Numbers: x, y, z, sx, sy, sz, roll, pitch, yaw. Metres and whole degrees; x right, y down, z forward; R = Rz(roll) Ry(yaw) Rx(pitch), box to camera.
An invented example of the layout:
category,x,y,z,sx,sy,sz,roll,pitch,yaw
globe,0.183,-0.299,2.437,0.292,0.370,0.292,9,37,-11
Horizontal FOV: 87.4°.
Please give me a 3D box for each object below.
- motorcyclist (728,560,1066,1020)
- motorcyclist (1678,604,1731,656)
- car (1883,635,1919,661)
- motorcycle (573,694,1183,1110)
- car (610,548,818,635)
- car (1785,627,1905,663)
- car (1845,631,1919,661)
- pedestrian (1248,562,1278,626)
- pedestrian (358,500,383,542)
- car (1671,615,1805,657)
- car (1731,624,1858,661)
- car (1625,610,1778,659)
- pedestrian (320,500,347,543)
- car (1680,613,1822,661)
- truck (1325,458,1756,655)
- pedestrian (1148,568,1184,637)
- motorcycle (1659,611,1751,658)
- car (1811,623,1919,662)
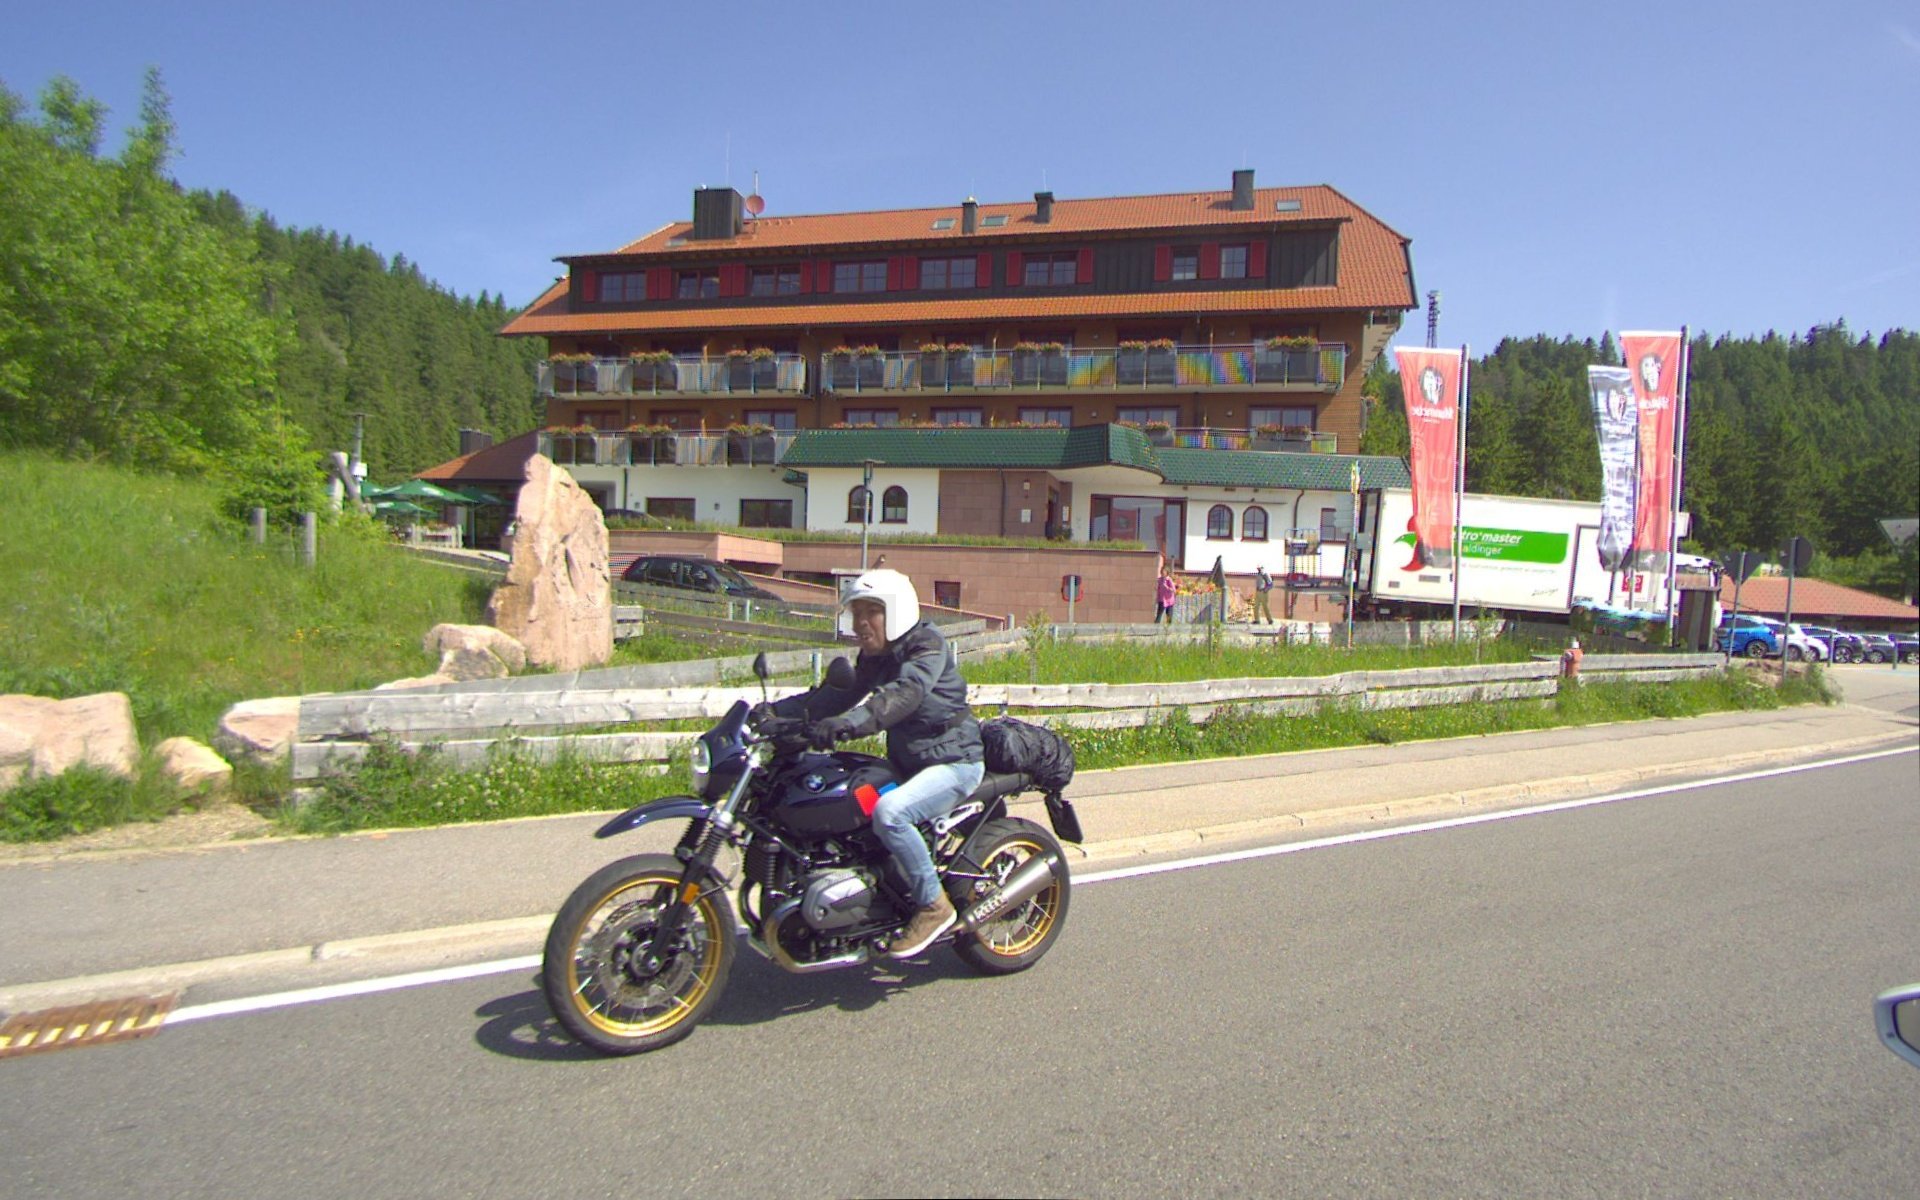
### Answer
category,x,y,z,sx,sy,sz,roll,pitch,yaw
motorcyclist,-0.255,0.623,3.813,0.993,1.460,0.835,2,-2,-30
motorcyclist,26.706,1.046,36.068,1.225,1.743,1.063,5,2,26
car,55.464,2.779,57.117,3.919,1.439,1.909,2,0,13
motorcycle,-0.252,0.957,3.822,2.157,1.110,0.835,2,-2,-30
car,-5.372,-0.198,22.048,3.922,1.371,1.880,7,1,18
car,42.820,2.162,48.679,3.997,1.506,1.717,2,0,13
car,48.585,2.393,51.849,3.921,1.389,1.812,2,0,20
pedestrian,8.354,-0.162,27.737,0.640,1.712,0.575,2,0,4
pedestrian,-22.841,-3.071,38.907,0.619,1.563,0.574,7,8,16
car,32.360,1.471,41.913,3.919,1.566,2.001,2,0,14
car,37.330,1.894,45.037,3.919,1.449,1.915,2,0,12
car,29.623,1.347,40.280,4.453,1.686,1.941,3,0,12
pedestrian,-23.806,-2.975,38.173,0.619,1.563,0.574,7,8,16
car,34.193,1.578,43.565,4.439,1.888,1.836,2,0,15
truck,14.145,-1.124,25.234,8.595,4.025,3.071,4,3,6
pedestrian,5.359,0.058,26.147,0.782,1.739,0.699,2,0,4
motorcycle,26.691,1.212,36.062,2.399,1.425,1.005,5,2,26
car,45.388,2.105,50.187,3.920,1.726,1.826,2,0,18
